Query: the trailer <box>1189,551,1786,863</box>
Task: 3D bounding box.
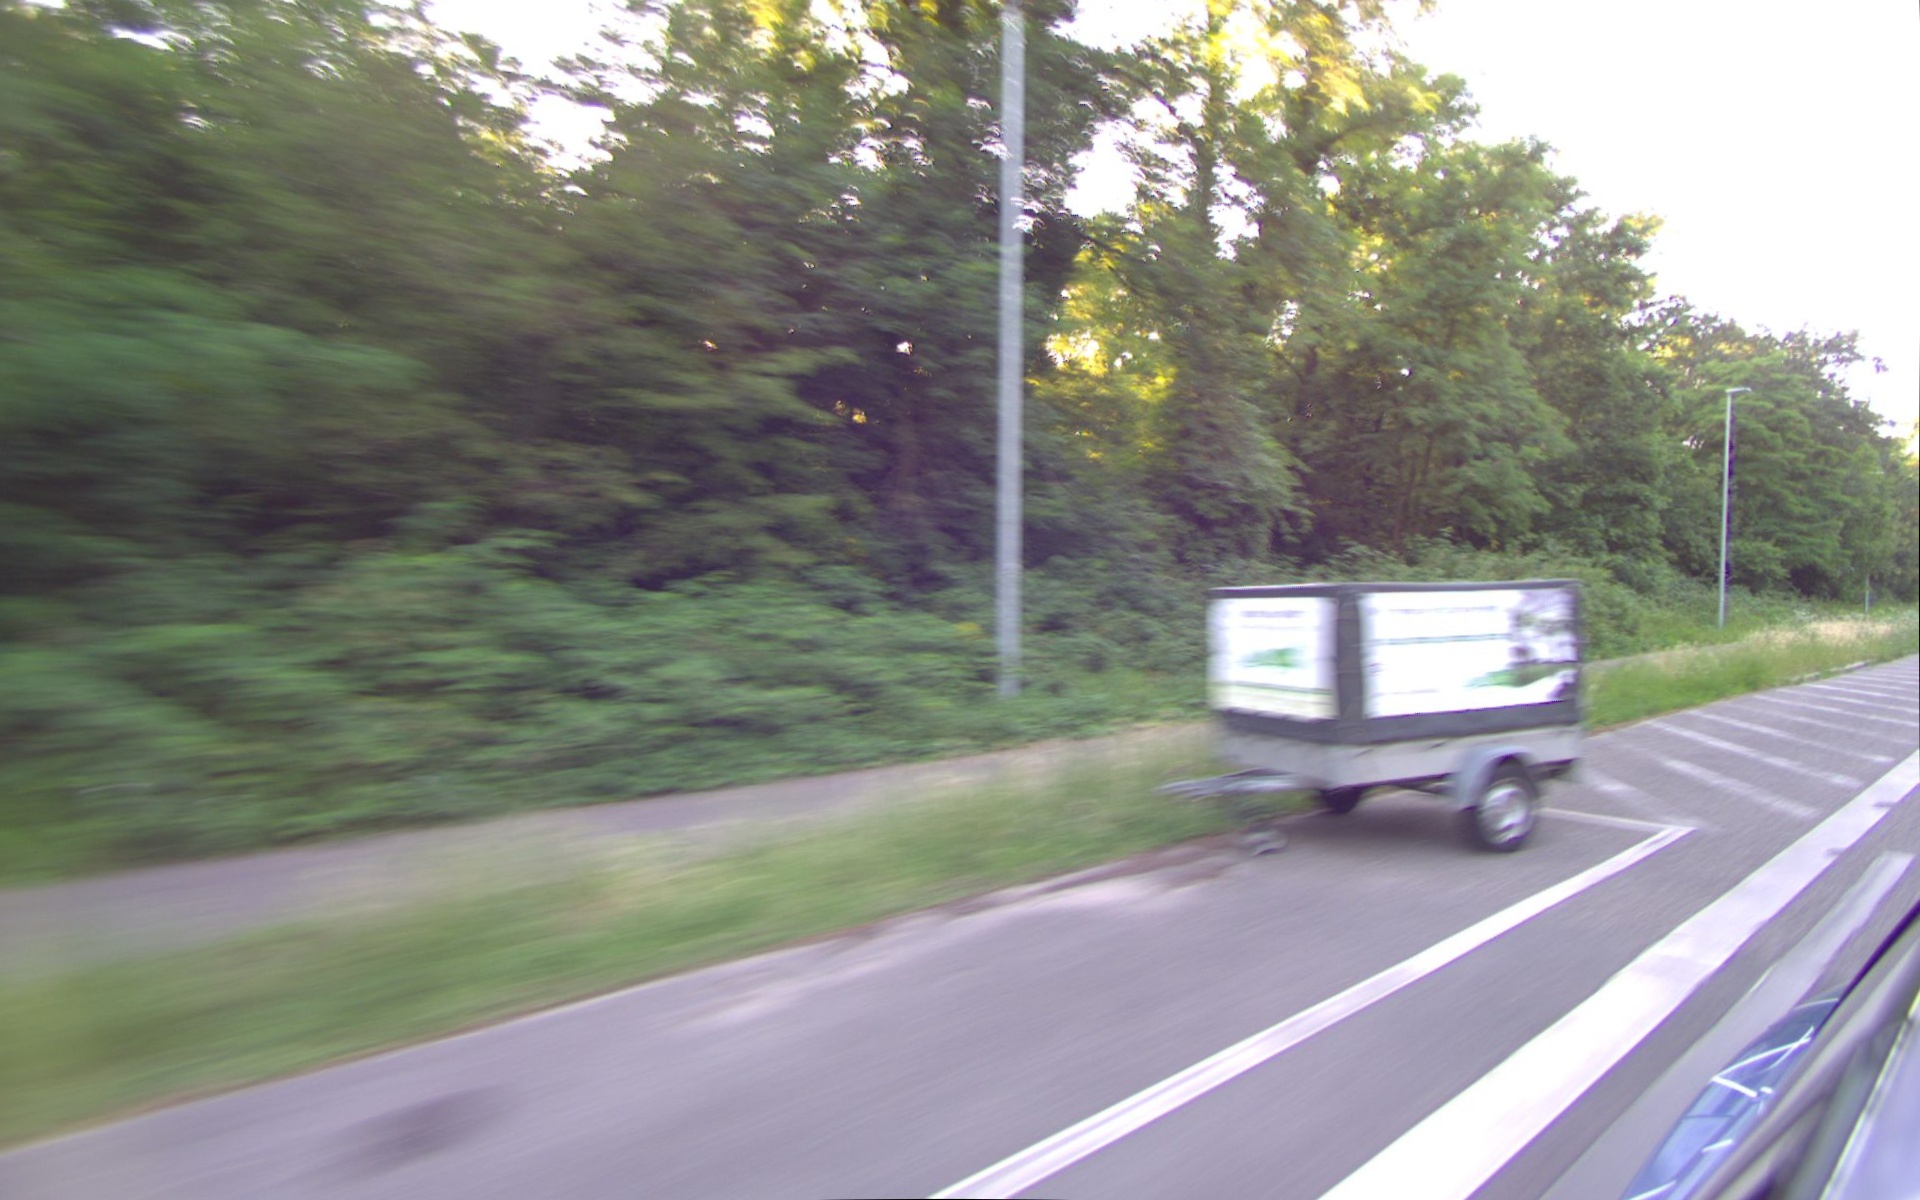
[{"bbox_3d":[3.544,0.565,6.801,3.698,1.682,1.464,1,2,-22],"label":"trailer"}]
